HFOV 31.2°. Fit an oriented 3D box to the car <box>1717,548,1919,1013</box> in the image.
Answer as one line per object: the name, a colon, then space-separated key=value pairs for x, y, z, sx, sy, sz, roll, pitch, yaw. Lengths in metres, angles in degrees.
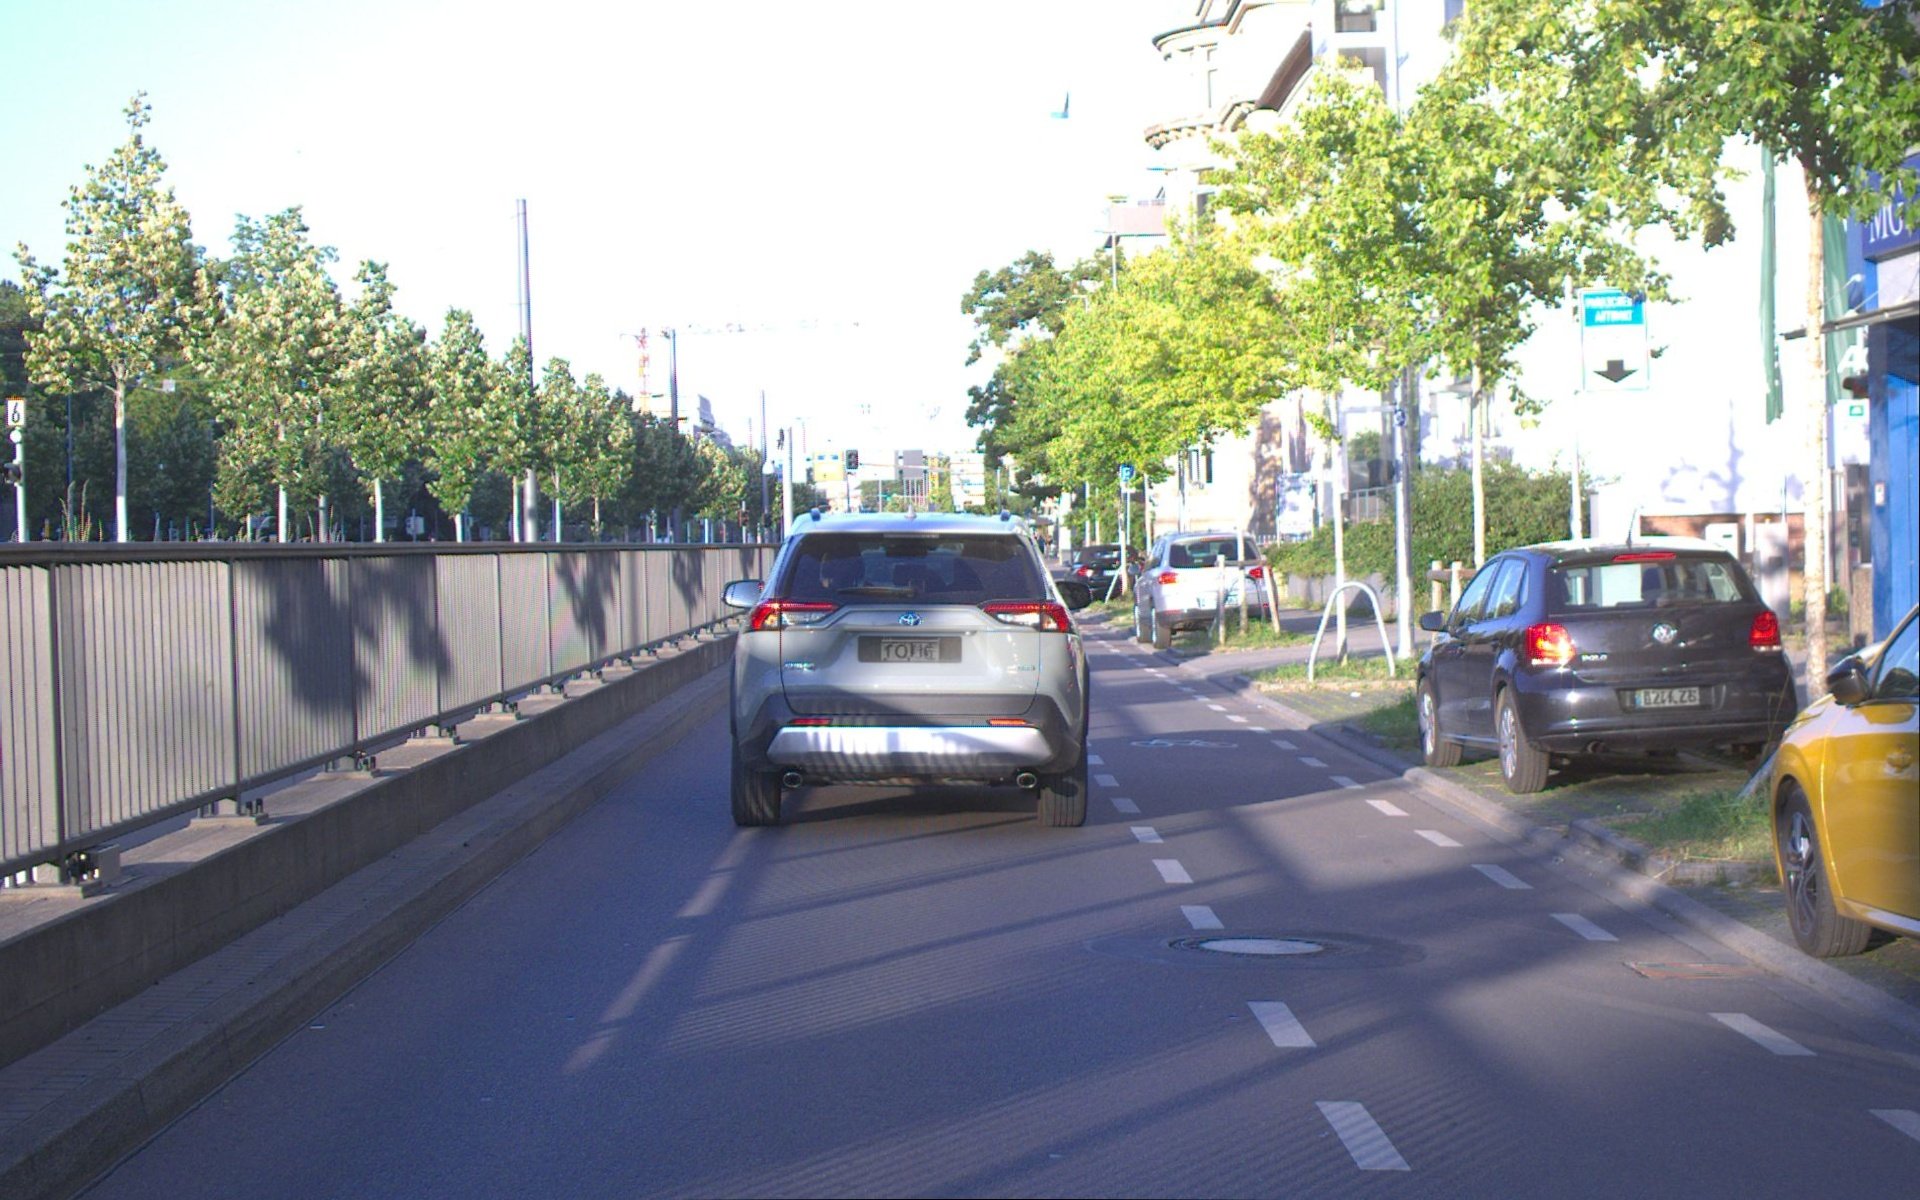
car: x=3.838 y=0.548 z=11.105 sx=1.683 sy=1.449 sz=4.130 roll=-2 pitch=1 yaw=-2

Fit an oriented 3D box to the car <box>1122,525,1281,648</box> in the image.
car: x=3.506 y=-0.235 z=50.633 sx=1.854 sy=1.701 sz=4.254 roll=-1 pitch=1 yaw=-2

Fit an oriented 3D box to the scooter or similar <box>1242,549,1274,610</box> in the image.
scooter or similar: x=6.216 y=-0.428 z=71.743 sx=0.490 sy=1.254 sz=1.208 roll=0 pitch=0 yaw=-4

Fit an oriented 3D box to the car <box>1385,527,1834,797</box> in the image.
car: x=3.901 y=0.324 z=21.354 sx=1.819 sy=1.449 sz=4.129 roll=-2 pitch=1 yaw=-2

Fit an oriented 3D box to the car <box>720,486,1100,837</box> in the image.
car: x=-0.325 y=0.283 z=19.072 sx=1.857 sy=1.708 sz=4.193 roll=1 pitch=1 yaw=-2

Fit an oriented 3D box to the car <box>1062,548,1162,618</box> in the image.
car: x=3.508 y=-0.421 z=80.070 sx=1.792 sy=1.466 sz=4.446 roll=-4 pitch=1 yaw=-3
